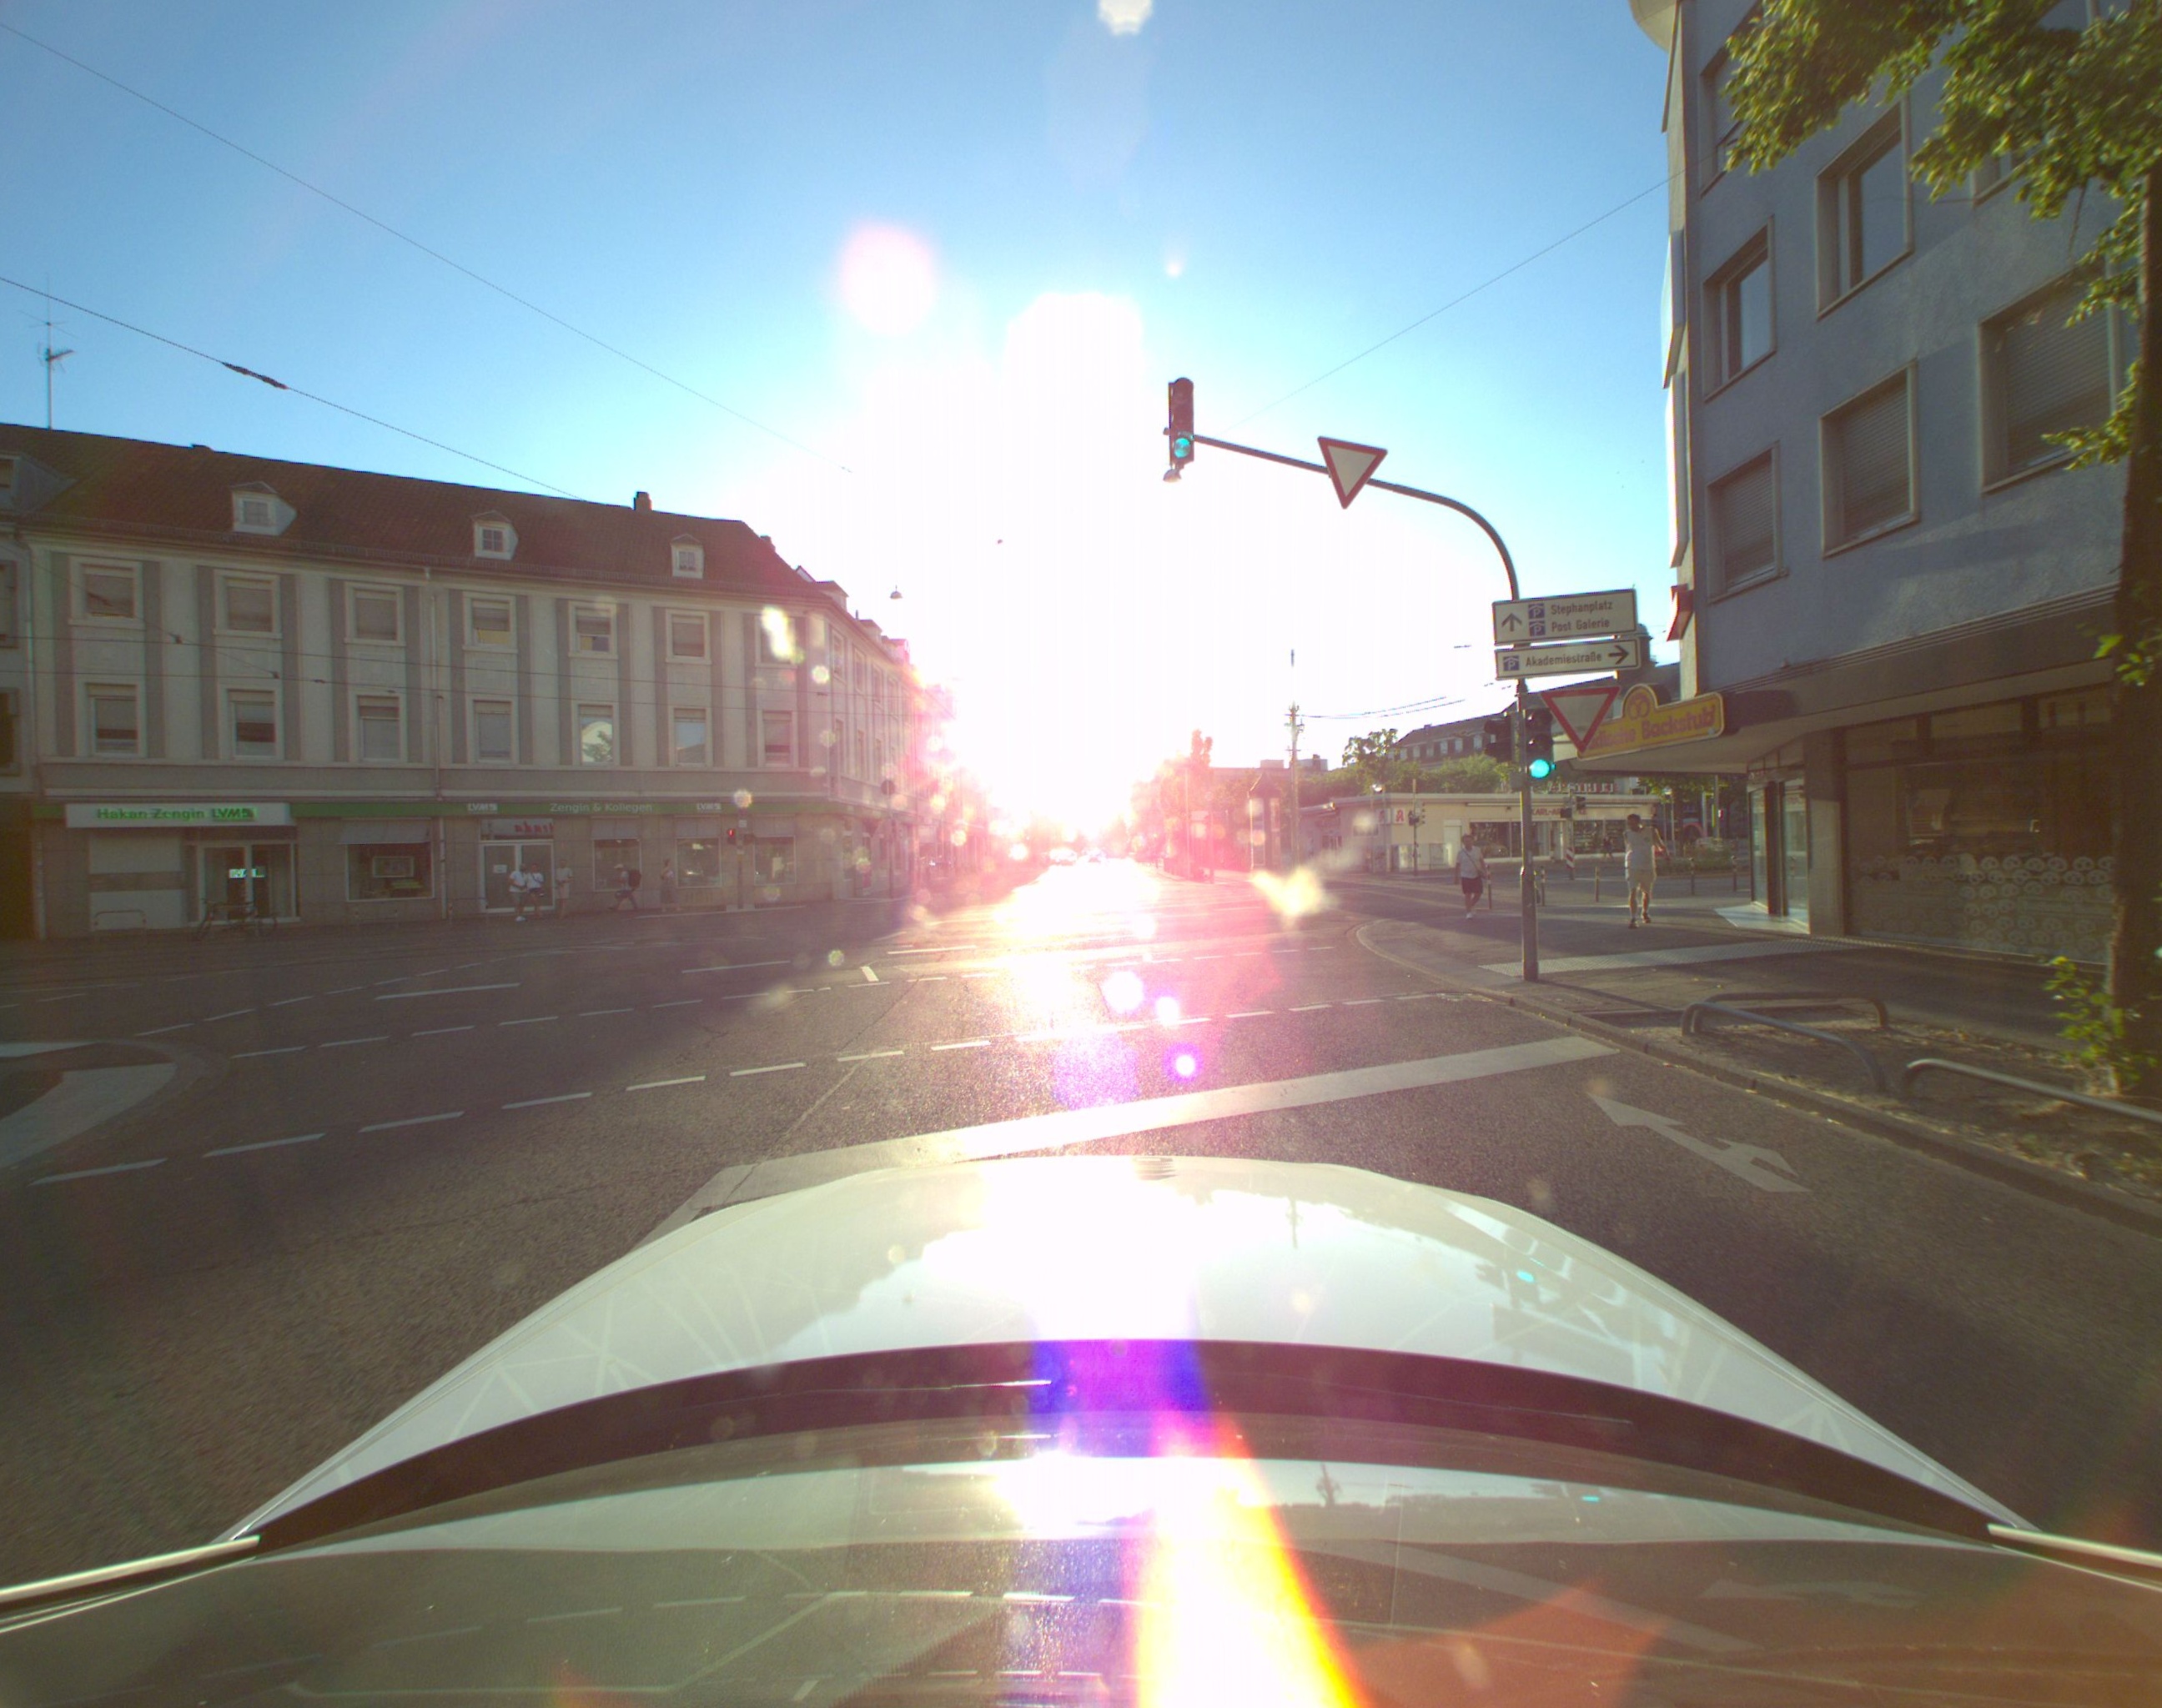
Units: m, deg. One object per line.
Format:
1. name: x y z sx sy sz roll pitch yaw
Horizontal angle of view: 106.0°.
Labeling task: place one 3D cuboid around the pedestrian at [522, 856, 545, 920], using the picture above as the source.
1. pedestrian: -16.847 1.042 25.062 0.532 1.928 0.633 -2 0 -35

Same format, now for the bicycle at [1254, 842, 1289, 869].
1. bicycle: 11.321 0.079 48.415 1.978 1.522 0.479 -2 0 2

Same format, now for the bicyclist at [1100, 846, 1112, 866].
1. bicyclist: 2.149 0.193 69.525 0.684 1.707 0.662 -2 0 -35

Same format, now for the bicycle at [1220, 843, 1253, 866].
1. bicycle: 10.988 0.059 57.628 2.211 1.522 0.682 -2 0 5

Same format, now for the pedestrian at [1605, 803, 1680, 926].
1. pedestrian: 9.046 0.163 13.162 0.796 1.886 1.000 -4 -1 29

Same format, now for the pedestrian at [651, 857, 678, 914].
1. pedestrian: -13.488 1.004 26.383 0.648 1.778 0.667 -2 0 -21

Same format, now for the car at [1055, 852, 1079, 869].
1. car: -1.505 0.677 87.933 2.295 1.678 5.533 -2 0 1

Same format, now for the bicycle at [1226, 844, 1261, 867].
1. bicycle: 11.141 0.086 55.866 2.214 1.522 0.681 -2 0 2

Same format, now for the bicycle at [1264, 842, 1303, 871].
1. bicycle: 11.167 0.137 44.965 1.978 1.522 0.479 -2 0 1

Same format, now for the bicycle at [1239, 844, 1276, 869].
1. bicycle: 11.275 0.139 52.100 2.214 1.522 0.681 -2 0 2

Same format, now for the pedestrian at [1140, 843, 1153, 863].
1. pedestrian: 6.697 -0.071 82.877 0.981 1.957 0.811 -2 0 27

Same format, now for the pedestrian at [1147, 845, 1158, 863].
1. pedestrian: 7.139 -0.023 81.090 0.798 1.786 0.998 -3 -1 15

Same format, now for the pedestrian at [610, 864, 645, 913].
1. pedestrian: -14.986 1.128 26.925 0.870 1.548 0.694 -2 0 -21

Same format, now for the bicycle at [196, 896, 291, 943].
1. bicycle: -22.152 1.712 21.569 1.651 1.089 0.475 -3 2 -27

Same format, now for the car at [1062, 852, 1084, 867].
1. car: -0.882 0.590 95.521 2.295 1.678 5.533 -2 0 1

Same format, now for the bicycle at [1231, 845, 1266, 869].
1. bicycle: 11.205 0.169 54.482 2.214 1.522 0.681 -2 0 2

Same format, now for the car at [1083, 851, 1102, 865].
1. car: 1.496 0.482 102.314 2.295 1.678 5.533 -2 0 1

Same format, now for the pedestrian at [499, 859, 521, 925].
1. pedestrian: -17.260 1.140 24.621 0.498 1.928 0.570 -2 0 -34

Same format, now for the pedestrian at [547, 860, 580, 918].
1. pedestrian: -16.004 1.064 25.201 0.700 1.745 0.635 -2 0 -21

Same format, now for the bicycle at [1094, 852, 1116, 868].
1. bicycle: 2.068 0.521 69.660 0.684 1.402 2.205 -2 0 -35

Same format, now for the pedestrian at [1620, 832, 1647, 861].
1. pedestrian: 31.515 -0.415 46.427 0.995 1.612 0.800 -3 -1 -24

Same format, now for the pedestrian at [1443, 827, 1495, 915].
1. pedestrian: 7.969 0.343 16.708 0.796 1.726 1.000 -4 -1 29

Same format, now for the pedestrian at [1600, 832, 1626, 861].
1. pedestrian: 30.909 -0.438 47.332 0.995 1.612 0.800 -3 -1 -24
